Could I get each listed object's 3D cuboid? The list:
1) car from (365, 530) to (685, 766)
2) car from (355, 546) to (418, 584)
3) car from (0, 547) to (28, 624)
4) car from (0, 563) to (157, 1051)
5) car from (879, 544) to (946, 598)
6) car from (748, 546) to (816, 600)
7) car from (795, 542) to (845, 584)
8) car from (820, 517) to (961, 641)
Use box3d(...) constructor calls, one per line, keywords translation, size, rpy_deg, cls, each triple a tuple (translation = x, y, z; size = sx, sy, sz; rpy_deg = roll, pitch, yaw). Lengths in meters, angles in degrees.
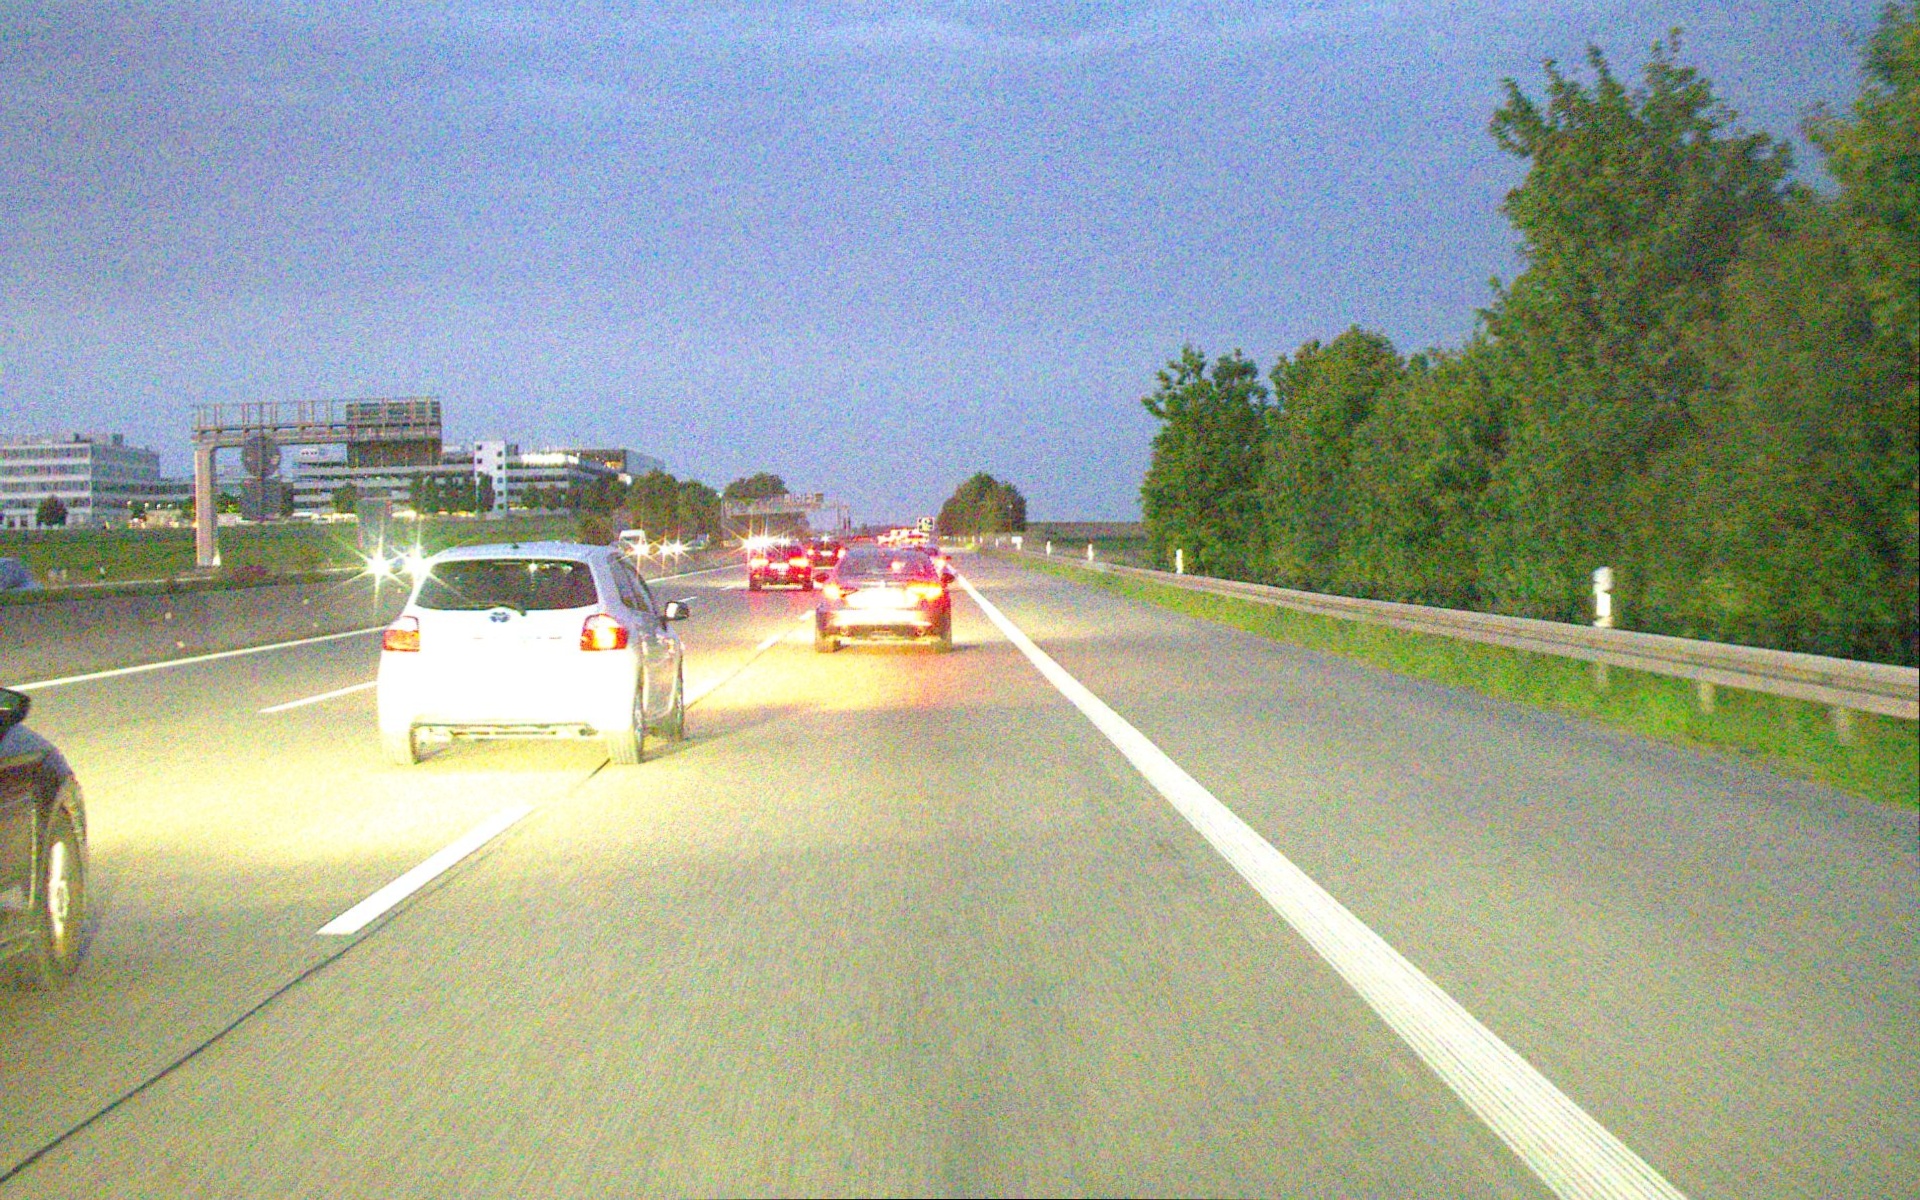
box3d(translation=(-3.012, 0.293, 24.605), size=(1.744, 1.519, 4.414), rpy_deg=(1, 1, 0), cls="car")
box3d(translation=(-21.498, -1.308, 128.968), size=(1.744, 1.357, 4.112), rpy_deg=(1, 1, -1), cls="car")
box3d(translation=(-16.845, -0.245, 57.370), size=(1.654, 1.284, 3.645), rpy_deg=(1, 1, -1), cls="car")
box3d(translation=(-3.736, 0.617, 10.114), size=(1.722, 1.466, 4.726), rpy_deg=(1, 1, -1), cls="car")
box3d(translation=(-1.418, -0.857, 100.966), size=(1.880, 1.547, 4.000), rpy_deg=(1, 1, -2), cls="car")
box3d(translation=(-5.211, -0.792, 101.119), size=(1.880, 1.547, 4.000), rpy_deg=(1, 1, -2), cls="car")
box3d(translation=(-6.461, -1.722, 158.924), size=(2.199, 1.873, 4.000), rpy_deg=(1, 1, -1), cls="car")
box3d(translation=(-0.965, -0.302, 48.162), size=(1.880, 1.637, 4.000), rpy_deg=(1, 1, -1), cls="car")
